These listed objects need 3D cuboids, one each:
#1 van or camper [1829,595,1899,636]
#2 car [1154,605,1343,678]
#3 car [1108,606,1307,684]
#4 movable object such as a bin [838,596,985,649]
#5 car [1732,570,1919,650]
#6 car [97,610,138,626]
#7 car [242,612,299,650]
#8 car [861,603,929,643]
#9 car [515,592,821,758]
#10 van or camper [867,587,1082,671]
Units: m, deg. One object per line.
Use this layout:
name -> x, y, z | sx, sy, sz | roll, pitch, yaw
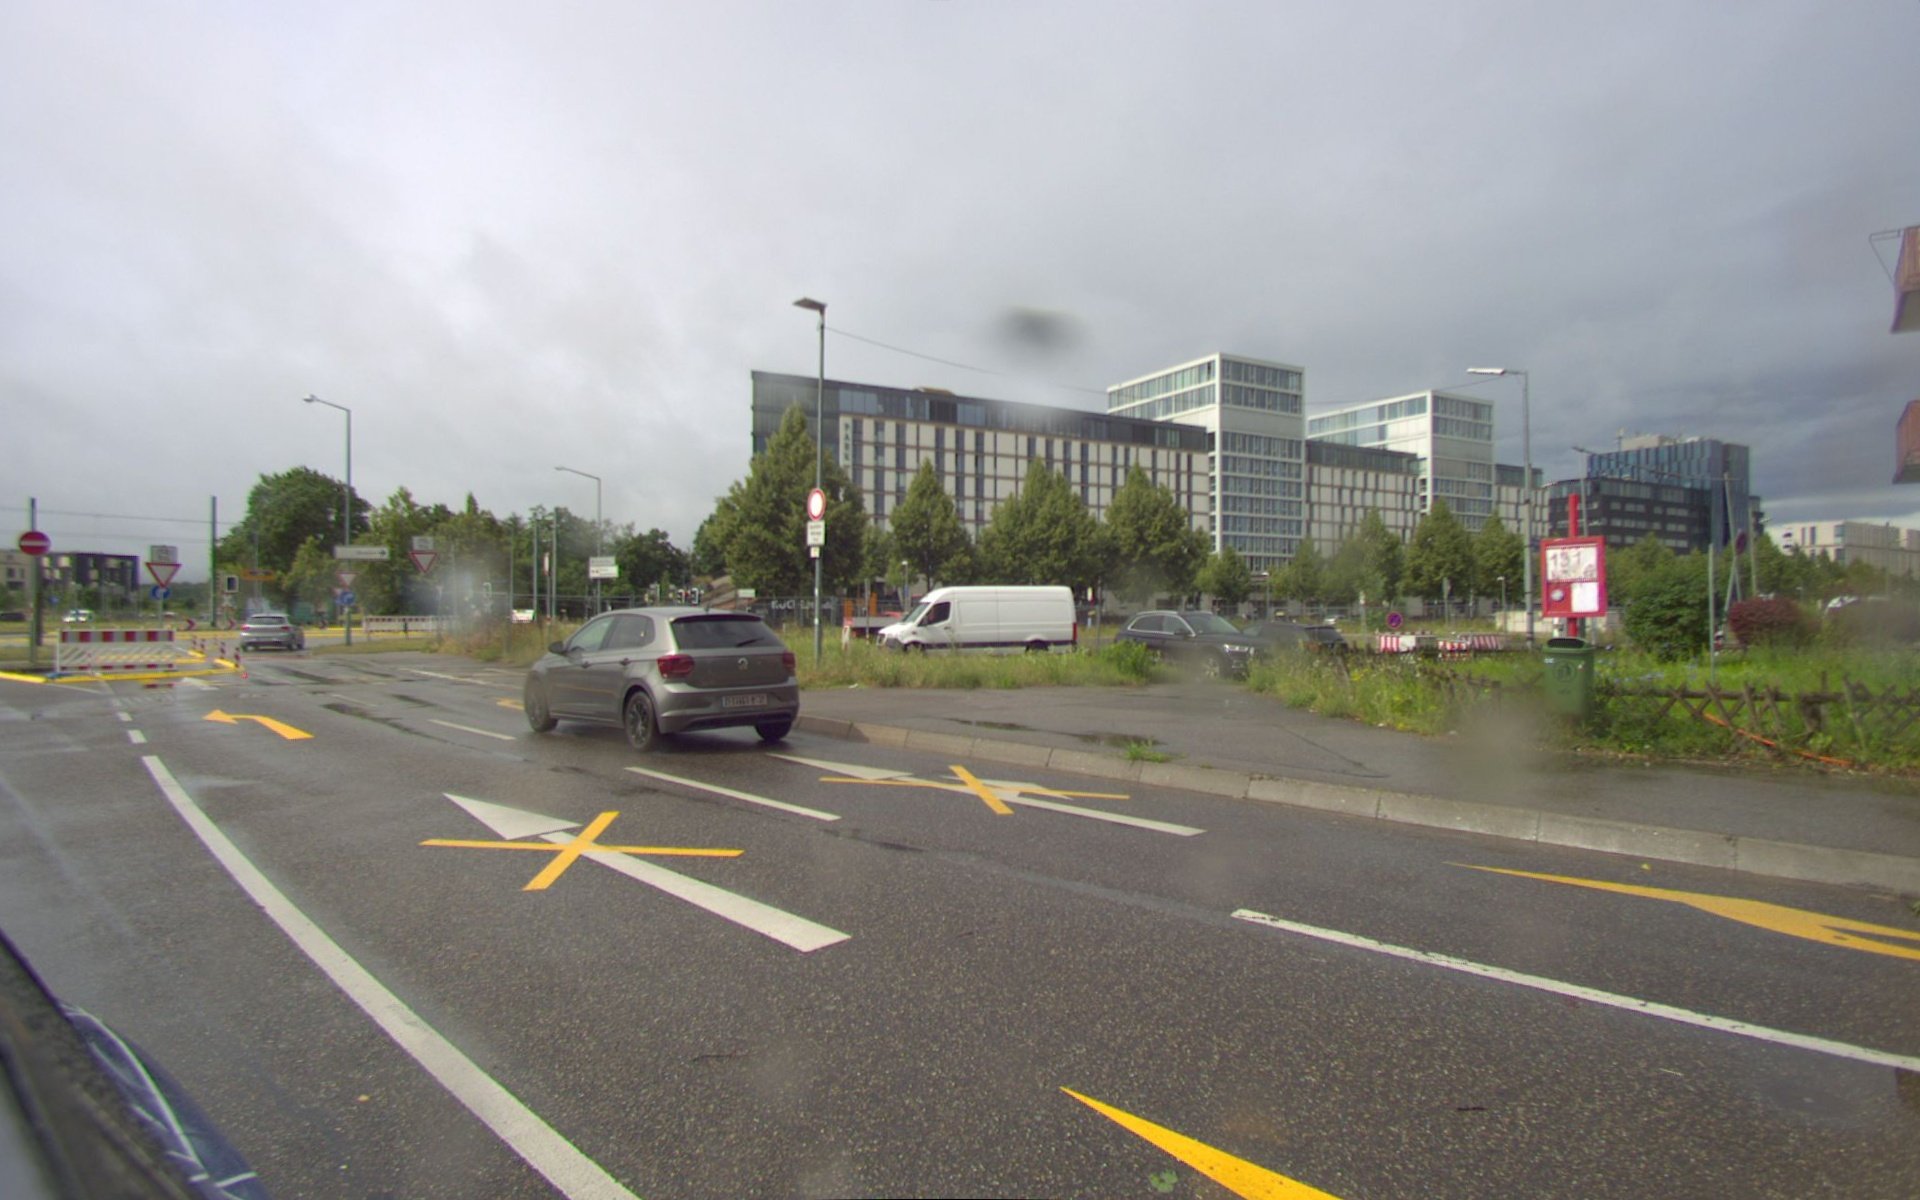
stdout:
van or camper -> 52.755, 0.873, 59.032 | 4.803, 2.328, 2.005 | 0, -1, -35
car -> 6.976, 0.963, 24.876 | 1.731, 1.630, 4.267 | 0, -1, -37
car -> 5.600, 0.974, 23.405 | 1.731, 1.630, 4.336 | 0, -1, -37
movable object such as a bin -> -2.321, 1.046, 48.214 | 6.500, 2.405, 2.684 | 0, -1, -18
car -> 24.344, 0.297, 28.100 | 1.686, 2.034, 4.336 | 0, -1, -22
car -> -84.121, 1.798, 101.105 | 1.642, 1.541, 3.488 | -1, -1, -10
car -> -27.418, 1.210, 40.352 | 1.714, 1.425, 4.191 | 0, -1, -32
car -> -3.553, 1.226, 54.646 | 1.966, 2.029, 4.011 | 0, -1, -32
car -> -3.347, 0.734, 11.200 | 1.660, 1.519, 3.796 | 1, -2, -44
van or camper -> 0.475, 0.932, 34.410 | 6.863, 2.667, 2.519 | 0, -1, -18
